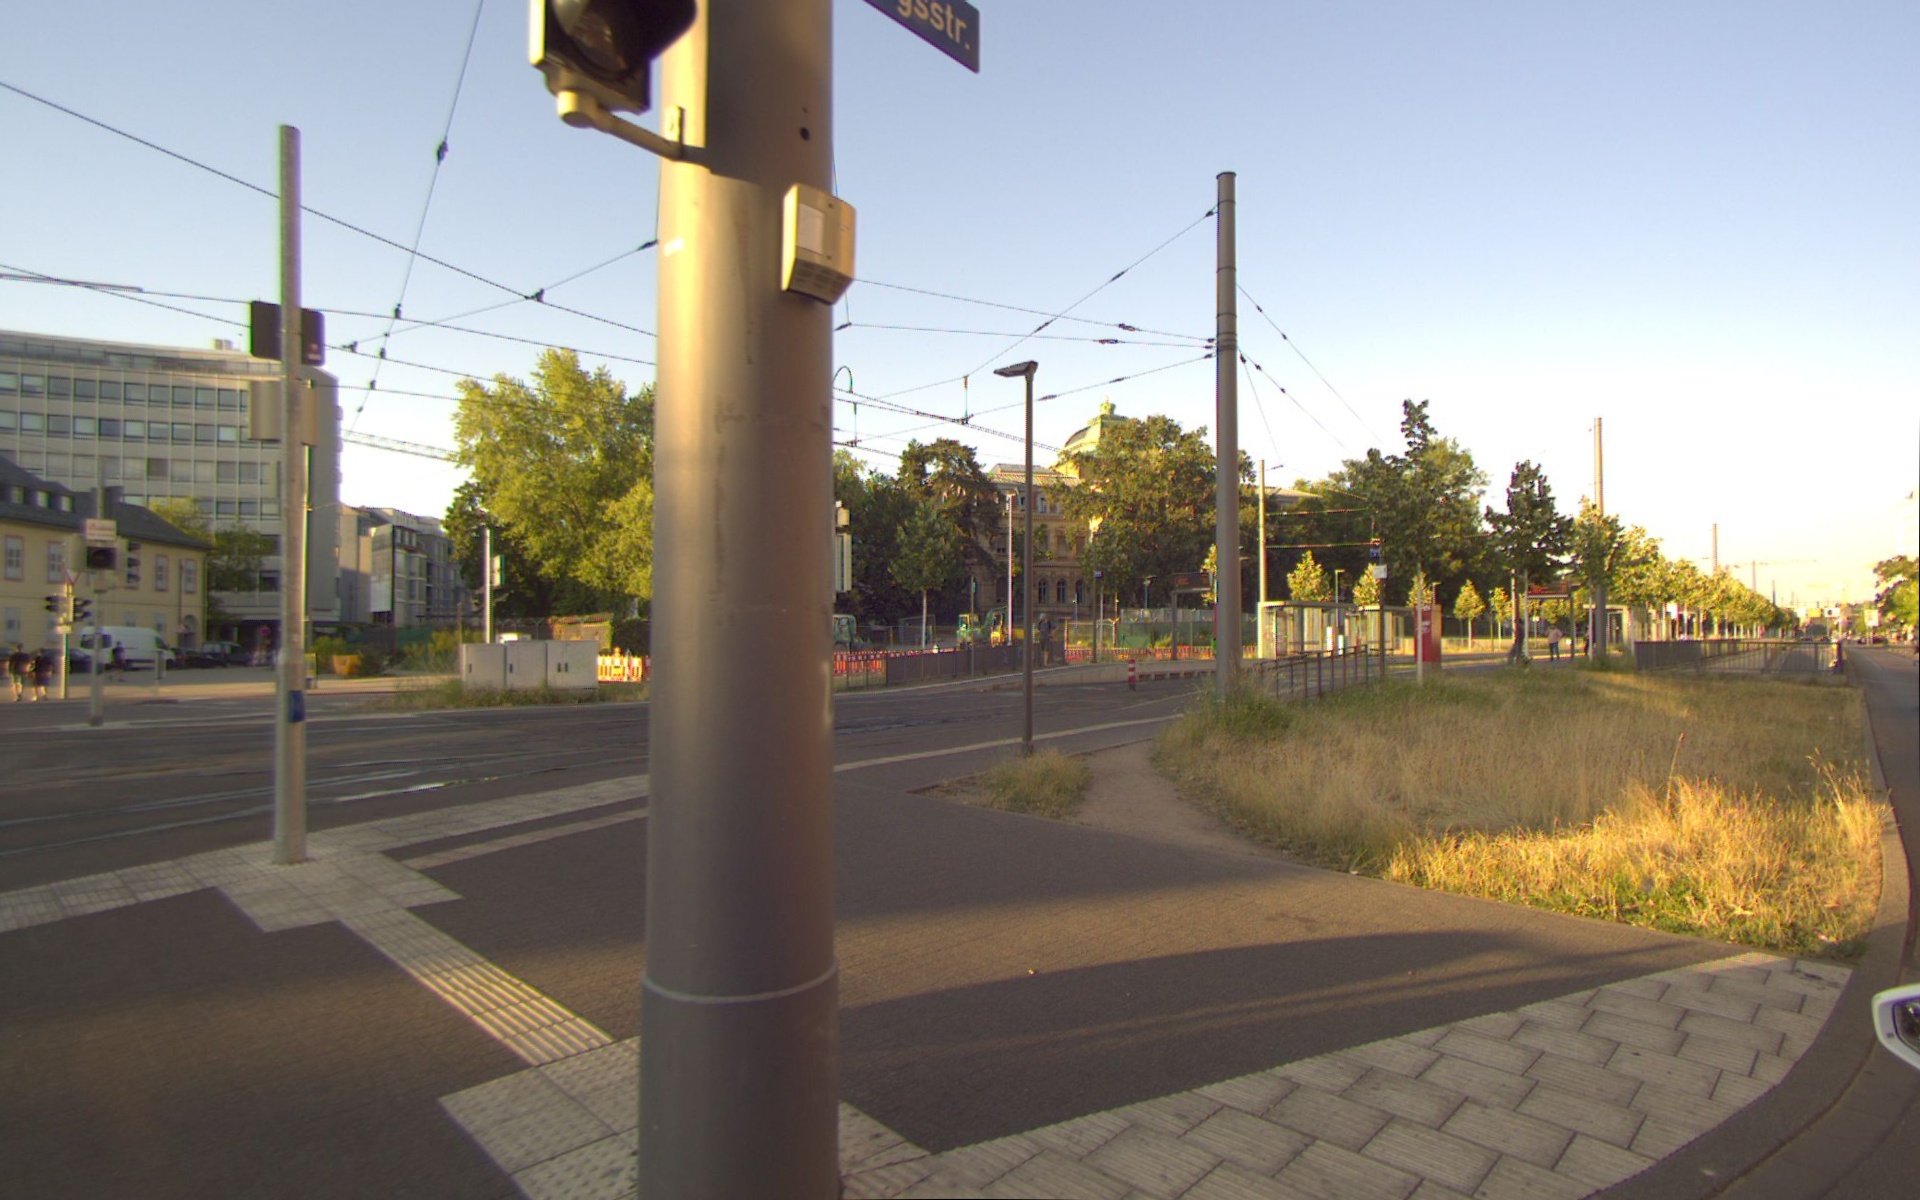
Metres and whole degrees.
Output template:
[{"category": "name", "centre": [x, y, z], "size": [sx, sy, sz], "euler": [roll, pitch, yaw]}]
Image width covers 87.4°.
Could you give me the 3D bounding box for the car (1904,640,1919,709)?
[{"category": "car", "centre": [21.860, 1.643, 21.654], "size": [1.835, 1.482, 4.174], "euler": [1, -1, 39]}]

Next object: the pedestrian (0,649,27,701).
[{"category": "pedestrian", "centre": [-28.637, 2.255, 30.367], "size": [0.586, 1.530, 0.647], "euler": [1, -3, -44]}]

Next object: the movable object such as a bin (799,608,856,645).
[{"category": "movable object such as a bin", "centre": [-9.988, 2.029, 75.992], "size": [1.972, 2.742, 3.977], "euler": [-1, -2, 43]}]

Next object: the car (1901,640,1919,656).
[{"category": "car", "centre": [97.162, 4.831, 102.066], "size": [1.771, 1.490, 4.427], "euler": [-5, -5, 38]}]

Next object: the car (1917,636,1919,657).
[{"category": "car", "centre": [77.986, 3.636, 80.145], "size": [1.833, 1.728, 4.235], "euler": [-7, -6, 39]}]

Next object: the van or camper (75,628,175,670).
[{"category": "van or camper", "centre": [-48.456, 2.798, 58.460], "size": [1.962, 2.332, 5.112], "euler": [0, -2, -6]}]

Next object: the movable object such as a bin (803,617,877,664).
[{"category": "movable object such as a bin", "centre": [-7.195, 2.423, 60.429], "size": [3.961, 2.742, 1.980], "euler": [2, -2, -36]}]

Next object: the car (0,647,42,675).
[{"category": "car", "centre": [-46.505, 2.916, 48.271], "size": [1.819, 1.293, 3.583], "euler": [0, -2, -10]}]

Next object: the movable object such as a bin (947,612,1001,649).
[{"category": "movable object such as a bin", "centre": [1.090, 2.316, 76.243], "size": [1.972, 2.742, 3.977], "euler": [-1, -2, 43]}]

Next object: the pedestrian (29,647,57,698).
[{"category": "pedestrian", "centre": [-27.977, 2.204, 30.647], "size": [0.586, 1.530, 0.647], "euler": [1, -3, -44]}]

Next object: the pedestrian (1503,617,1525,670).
[{"category": "pedestrian", "centre": [19.024, 1.490, 34.494], "size": [0.621, 1.810, 0.467], "euler": [2, -2, -41]}]

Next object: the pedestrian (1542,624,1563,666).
[{"category": "pedestrian", "centre": [25.750, 1.954, 43.674], "size": [0.715, 1.768, 0.634], "euler": [-2, -2, 34]}]

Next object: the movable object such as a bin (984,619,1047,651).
[{"category": "movable object such as a bin", "centre": [4.126, 2.547, 73.841], "size": [1.972, 2.276, 4.911], "euler": [-1, -3, 43]}]

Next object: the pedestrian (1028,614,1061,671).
[{"category": "pedestrian", "centre": [2.742, 1.364, 32.569], "size": [0.687, 1.822, 0.812], "euler": [-1, -2, 43]}]

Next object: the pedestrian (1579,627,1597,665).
[{"category": "pedestrian", "centre": [29.010, 2.106, 46.390], "size": [0.625, 1.751, 0.635], "euler": [-1, -2, 29]}]
